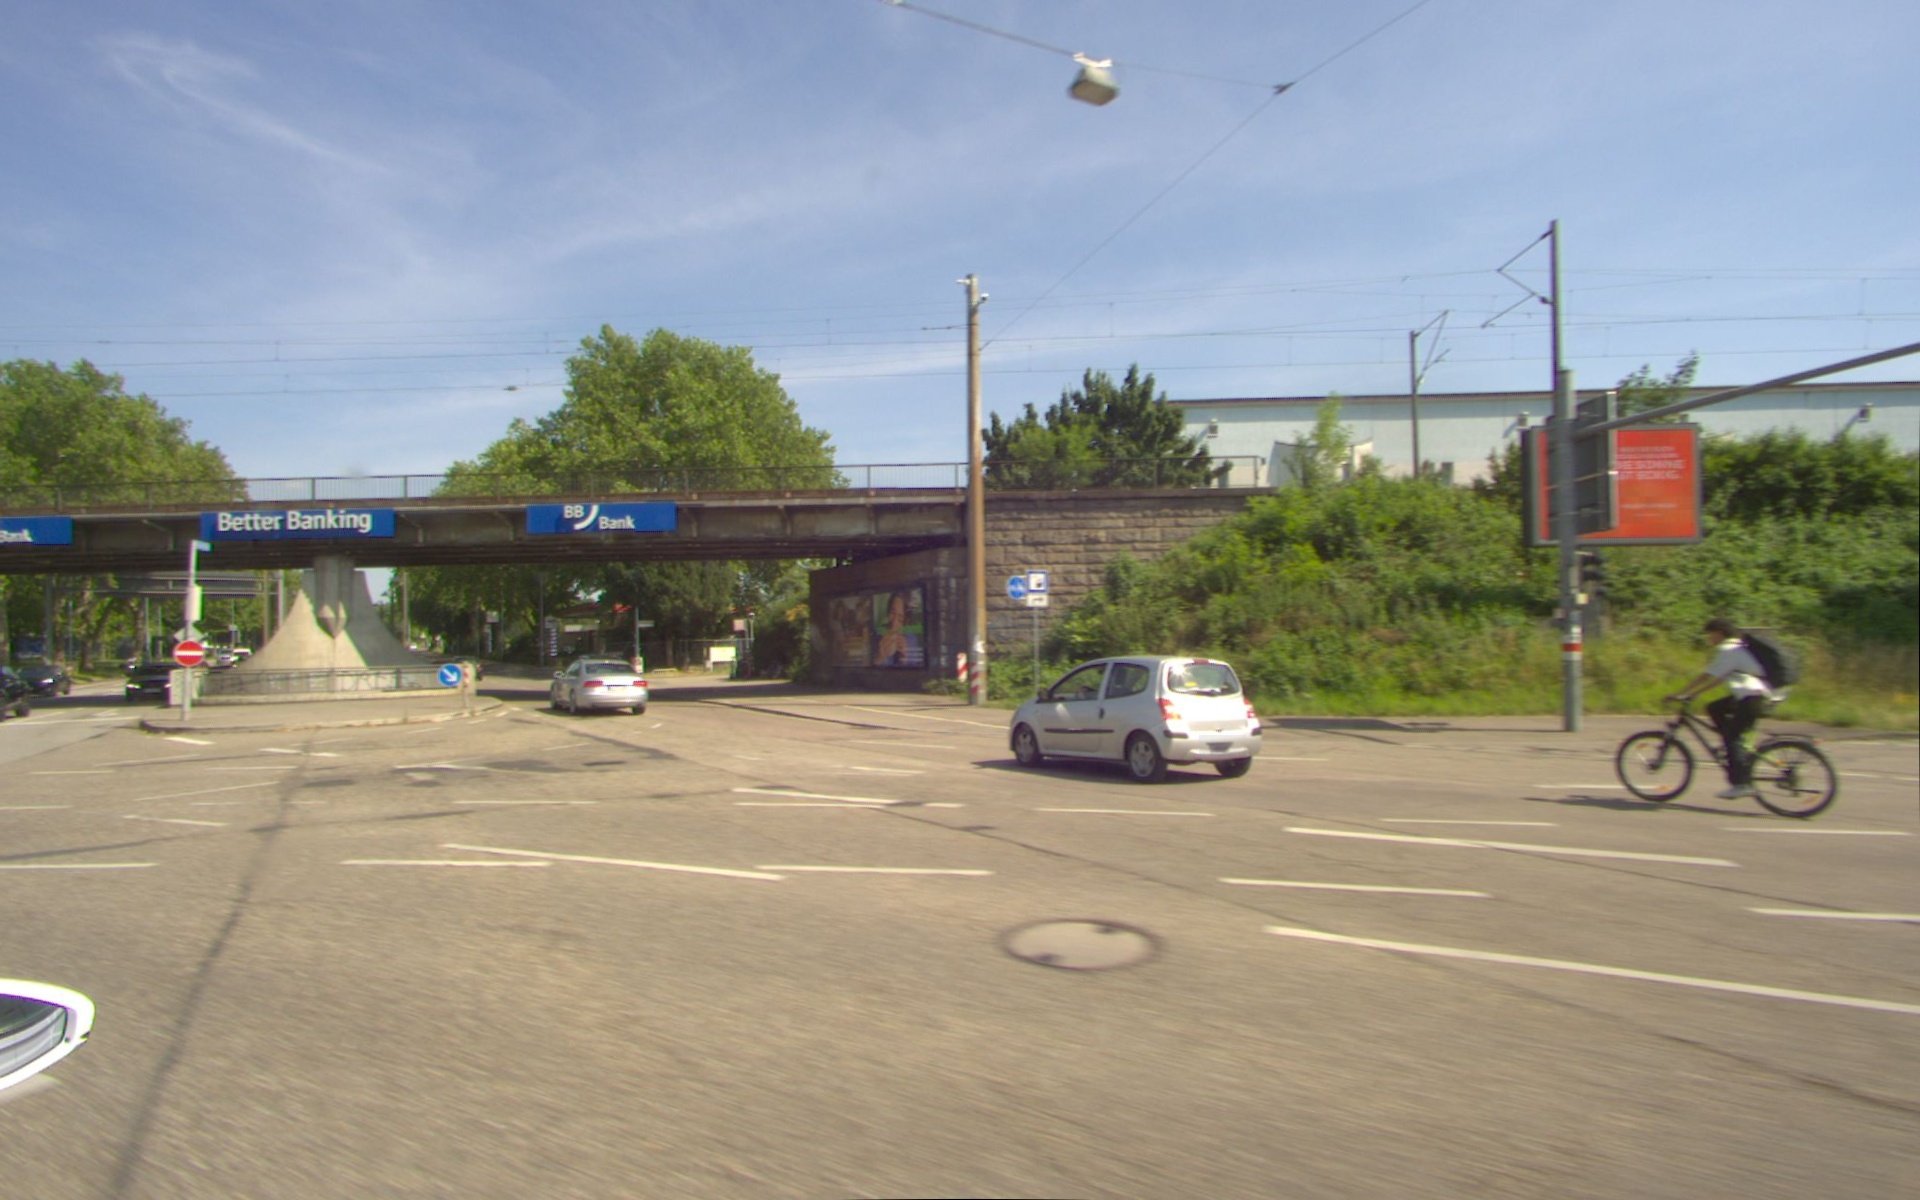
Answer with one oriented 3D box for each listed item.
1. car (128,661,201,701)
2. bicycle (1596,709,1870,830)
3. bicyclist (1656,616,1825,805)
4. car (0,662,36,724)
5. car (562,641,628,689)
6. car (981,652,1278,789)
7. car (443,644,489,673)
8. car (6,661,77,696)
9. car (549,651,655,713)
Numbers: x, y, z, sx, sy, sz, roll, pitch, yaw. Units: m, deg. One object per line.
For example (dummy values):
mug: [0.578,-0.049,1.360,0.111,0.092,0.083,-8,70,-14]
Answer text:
car: [-32.083,3.217,40.483,1.668,1.460,3.983,0,-3,-29]
bicycle: [7.293,1.555,9.551,0.807,0.903,1.915,3,-3,-33]
bicyclist: [7.364,1.003,9.475,0.796,1.654,1.062,2,-3,-33]
car: [-28.520,2.660,29.009,1.975,1.616,4.416,1,-2,-35]
car: [-14.568,2.551,39.839,1.889,1.791,3.982,1,-3,-29]
car: [2.016,1.423,12.991,1.693,1.469,3.873,2,-3,-31]
car: [-29.365,3.476,59.491,1.919,1.621,3.976,3,-3,-33]
car: [-43.237,3.661,47.239,1.804,1.525,4.191,0,-3,-34]
car: [-10.028,2.228,27.846,1.972,1.526,4.461,3,-3,-30]
